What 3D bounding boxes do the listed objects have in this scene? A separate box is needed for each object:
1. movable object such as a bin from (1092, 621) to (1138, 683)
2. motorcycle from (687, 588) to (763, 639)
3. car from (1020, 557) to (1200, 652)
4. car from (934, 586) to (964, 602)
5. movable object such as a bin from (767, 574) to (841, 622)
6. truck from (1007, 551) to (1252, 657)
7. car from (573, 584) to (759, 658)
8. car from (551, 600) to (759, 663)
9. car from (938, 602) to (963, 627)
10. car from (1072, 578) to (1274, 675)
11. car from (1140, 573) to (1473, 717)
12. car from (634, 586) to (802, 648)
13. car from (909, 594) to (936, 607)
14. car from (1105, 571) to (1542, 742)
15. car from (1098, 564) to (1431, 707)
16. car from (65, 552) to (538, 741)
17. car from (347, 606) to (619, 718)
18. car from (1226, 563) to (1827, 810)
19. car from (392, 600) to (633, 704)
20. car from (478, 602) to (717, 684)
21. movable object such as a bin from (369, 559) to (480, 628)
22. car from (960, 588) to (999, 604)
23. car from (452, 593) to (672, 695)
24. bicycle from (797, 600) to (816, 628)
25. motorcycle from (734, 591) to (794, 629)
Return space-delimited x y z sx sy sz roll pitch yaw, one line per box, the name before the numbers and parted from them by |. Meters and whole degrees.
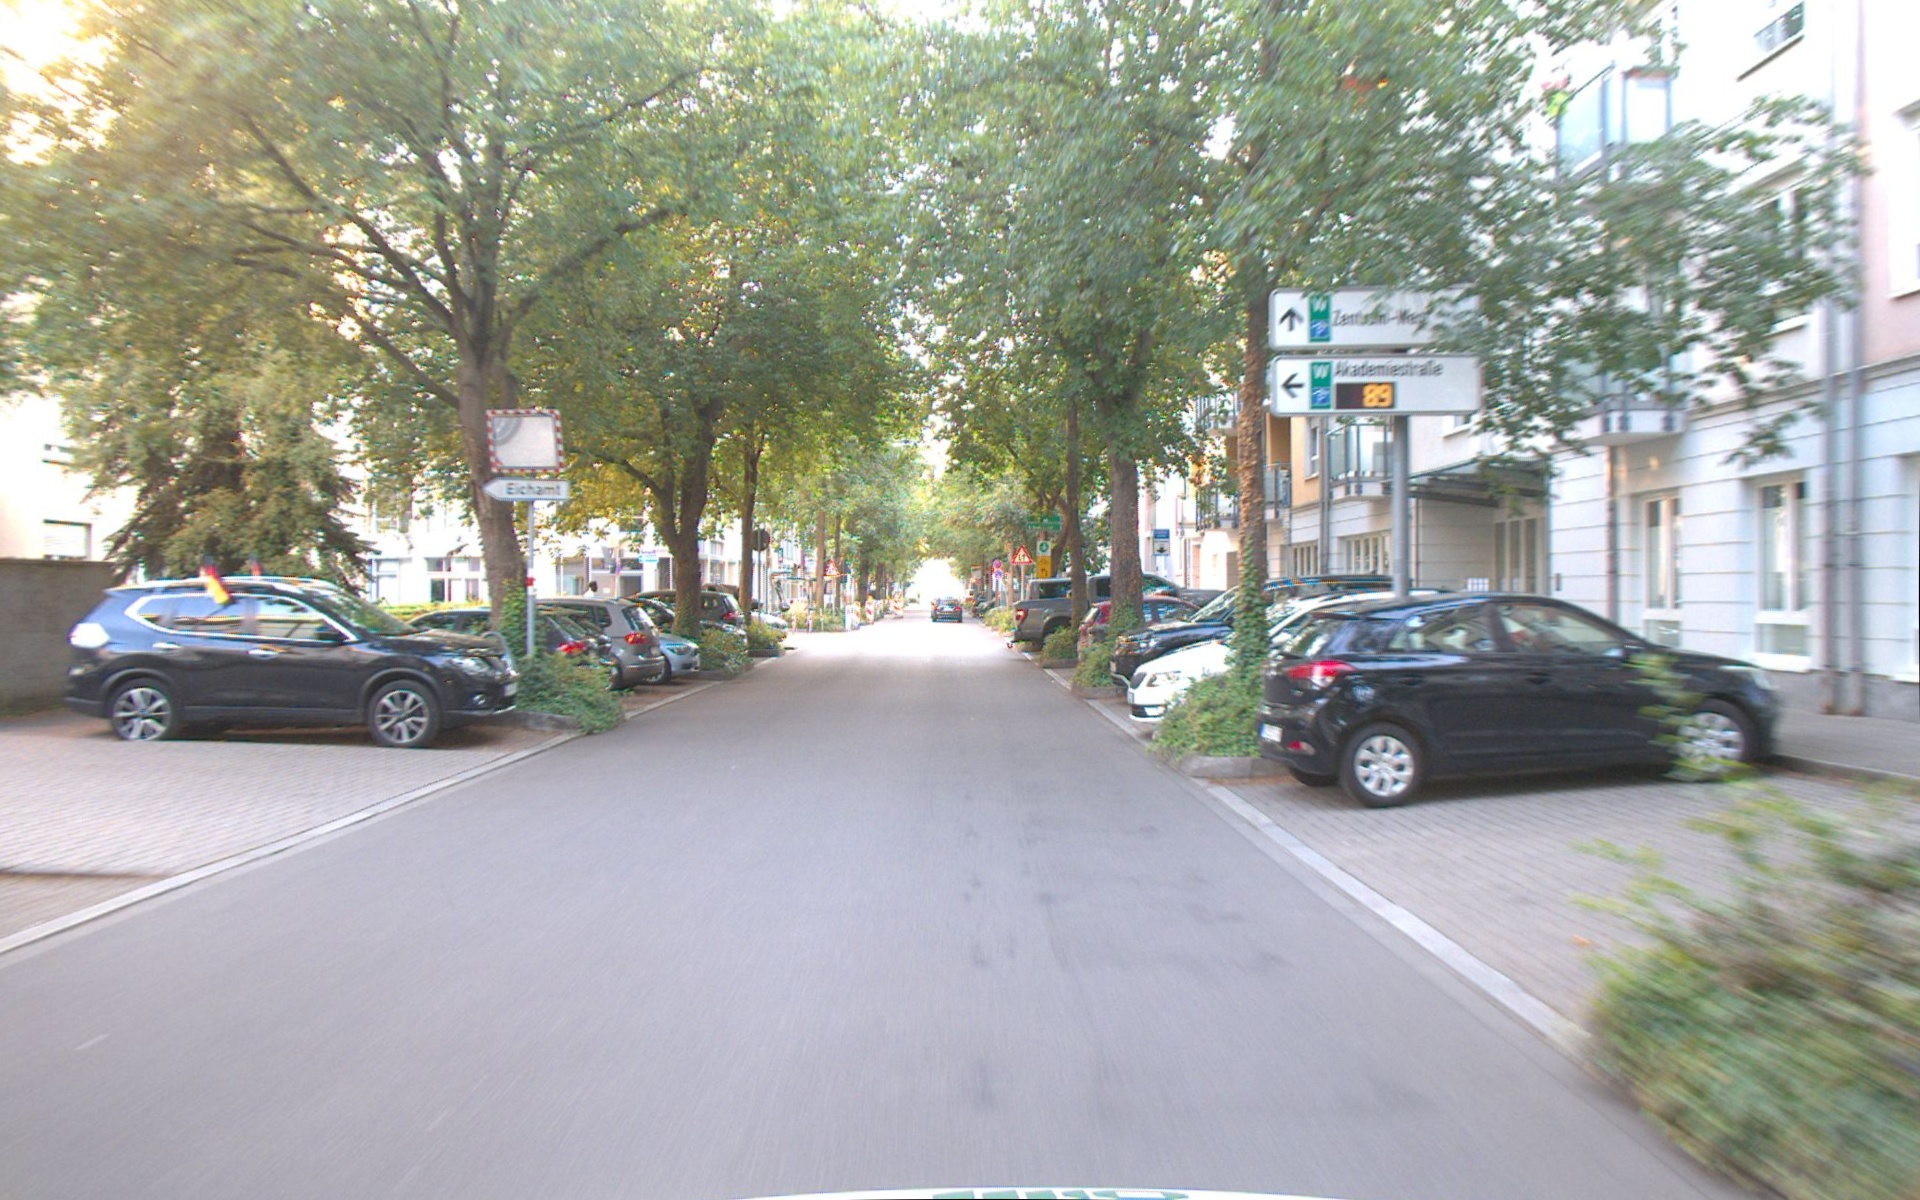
movable object such as a bin | 2.776 0.918 29.662 0.759 1.086 0.589 0 0 -2
motorcycle | -7.100 0.410 50.026 2.171 1.520 0.691 0 0 1
car | 4.003 0.109 44.712 4.527 2.170 2.036 -4 0 -1
car | -1.427 -0.726 216.968 3.904 2.049 2.000 -1 0 1
movable object such as a bin | -7.910 -0.097 84.263 3.592 2.373 2.582 -1 0 -3
truck | 4.236 0.092 42.144 5.883 2.170 2.260 -5 0 -1
car | -7.305 0.509 41.452 4.308 1.714 2.063 1 0 -3
car | -7.190 0.734 39.390 4.621 1.449 2.070 0 0 -3
car | -0.574 0.877 99.146 1.470 1.441 3.713 0 0 -1
car | 4.137 0.521 32.444 3.592 1.575 1.779 -4 -1 -3
car | 4.395 0.557 21.410 3.905 1.552 1.727 -4 0 1
car | -6.762 0.473 46.592 4.406 1.609 2.055 1 0 0
car | -5.878 0.128 258.275 3.913 1.948 1.774 0 0 -9
car | 4.011 0.603 18.726 4.480 1.579 1.772 -3 0 -2
car | 4.360 0.486 24.001 4.303 1.733 1.892 -3 0 -9
car | -7.004 0.478 17.977 4.328 1.925 1.999 0 0 -1
car | -6.575 0.835 23.048 3.336 1.467 1.593 0 0 -3
car | 4.248 0.606 12.806 3.910 1.500 1.912 -4 0 -5
car | -6.913 0.777 25.815 3.336 1.533 1.663 0 0 -3
car | -6.574 0.775 30.351 4.018 1.403 1.746 1 0 -3
movable object such as a bin | -21.193 -0.269 65.475 4.015 2.680 1.801 0 0 24
car | 2.045 -0.431 172.887 3.908 1.625 1.998 0 0 -4
car | -6.683 0.720 28.023 3.336 1.637 1.760 0 0 -3
bicycle | -6.375 0.582 68.737 0.589 1.137 1.799 -1 1 -1
motorcycle | -7.812 0.386 65.874 2.358 1.466 0.790 -1 0 -41
